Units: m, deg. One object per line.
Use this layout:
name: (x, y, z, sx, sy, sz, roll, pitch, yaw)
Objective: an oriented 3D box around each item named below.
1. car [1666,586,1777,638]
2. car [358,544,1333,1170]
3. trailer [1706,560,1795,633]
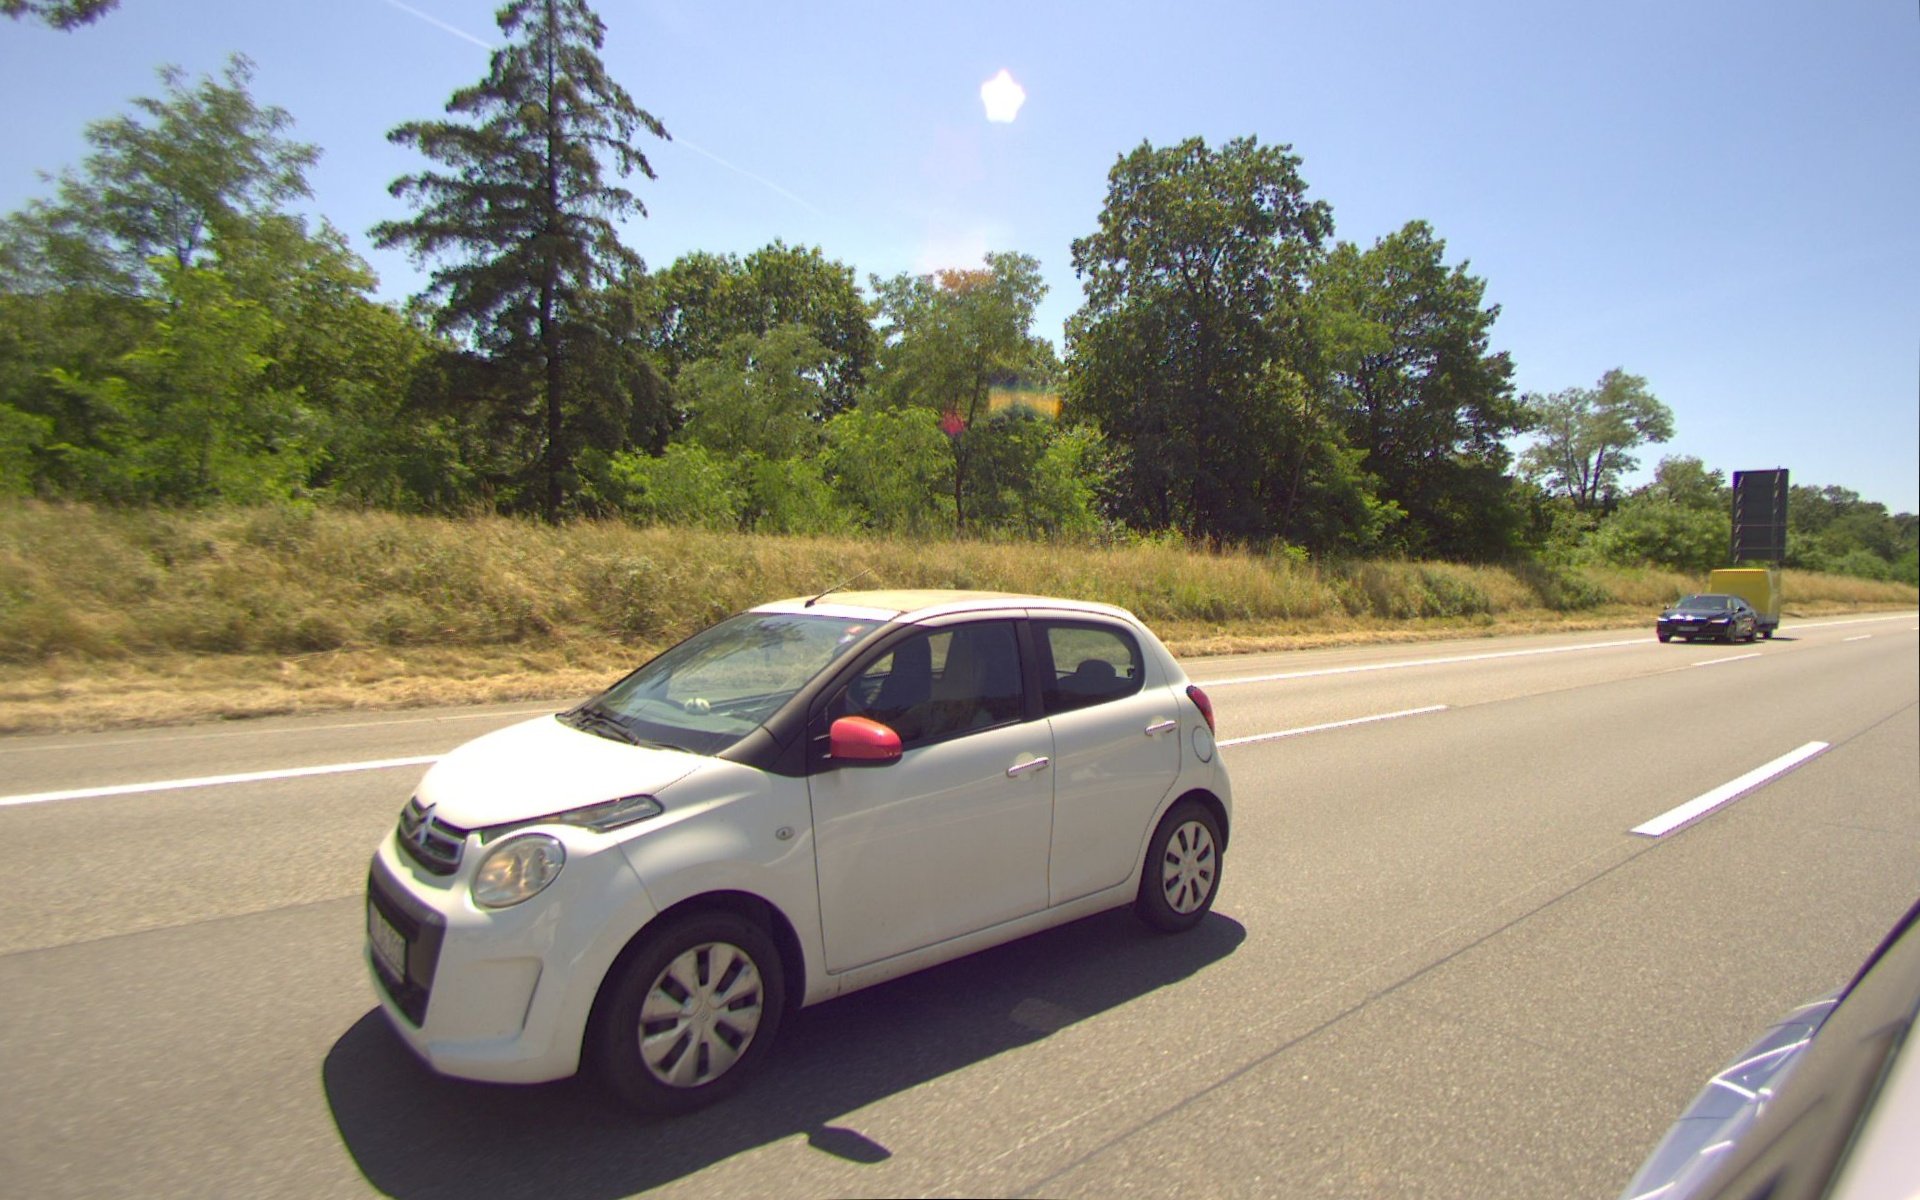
car: (23.215, 0.318, 30.795, 4.706, 1.474, 1.824, 0, 1, -42)
car: (-0.190, 0.605, 4.399, 3.953, 1.514, 1.711, 0, 1, -41)
trailer: (26.339, -0.129, 33.690, 3.773, 2.318, 1.705, 0, 0, -42)
